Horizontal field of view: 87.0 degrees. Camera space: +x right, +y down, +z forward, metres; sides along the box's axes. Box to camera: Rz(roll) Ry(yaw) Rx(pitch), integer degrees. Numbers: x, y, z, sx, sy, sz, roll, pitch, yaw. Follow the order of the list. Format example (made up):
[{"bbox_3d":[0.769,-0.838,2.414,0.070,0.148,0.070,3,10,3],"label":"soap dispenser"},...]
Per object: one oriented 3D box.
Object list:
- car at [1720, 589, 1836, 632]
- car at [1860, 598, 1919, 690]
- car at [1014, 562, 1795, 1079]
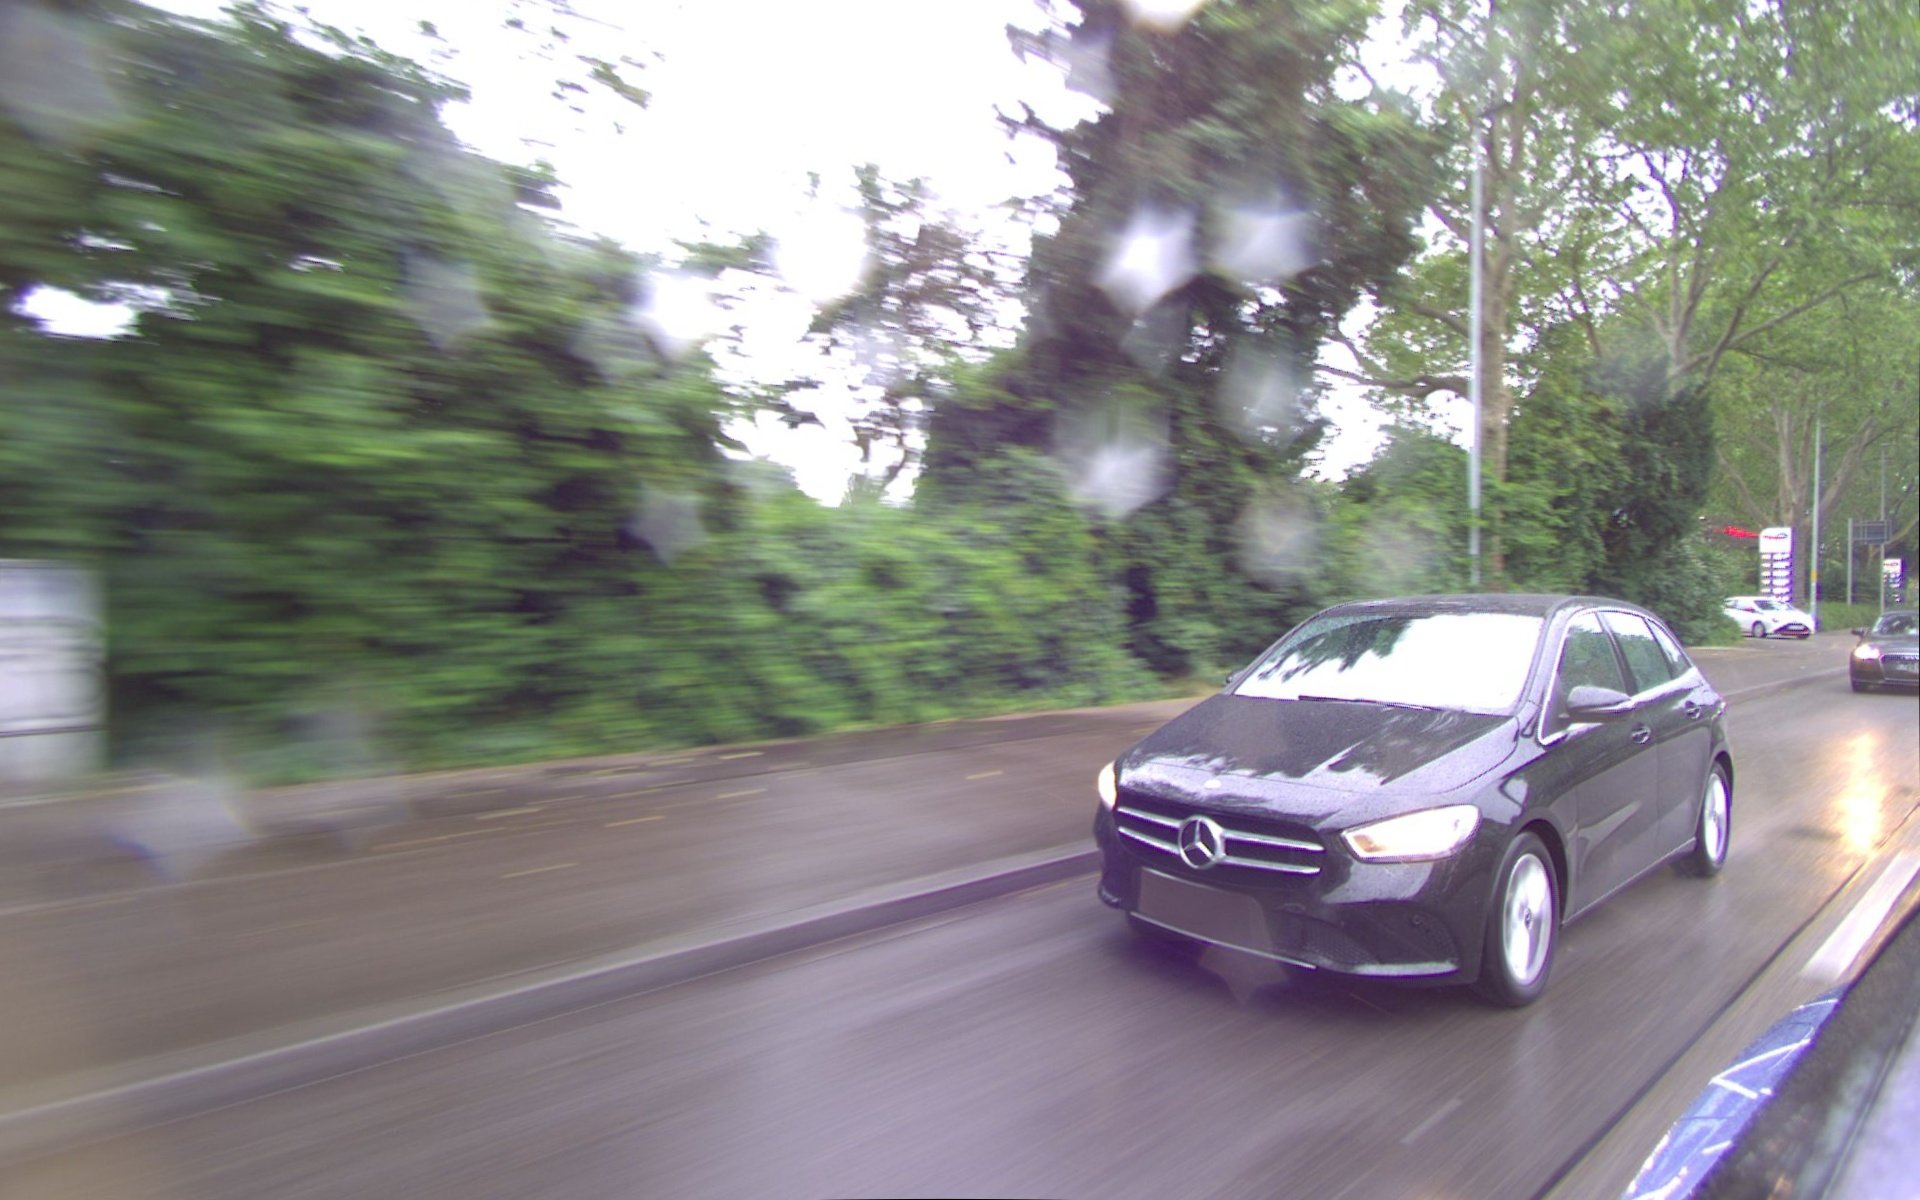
[{"bbox_3d":[29.646,0.377,36.815,1.581,1.450,3.548,-1,-1,7],"label":"car"},{"bbox_3d":[16.645,0.684,17.069,3.715,1.402,1.640,-1,0,-40],"label":"car"},{"bbox_3d":[2.503,0.656,5.131,4.342,1.549,1.820,-1,-1,-39],"label":"car"}]
